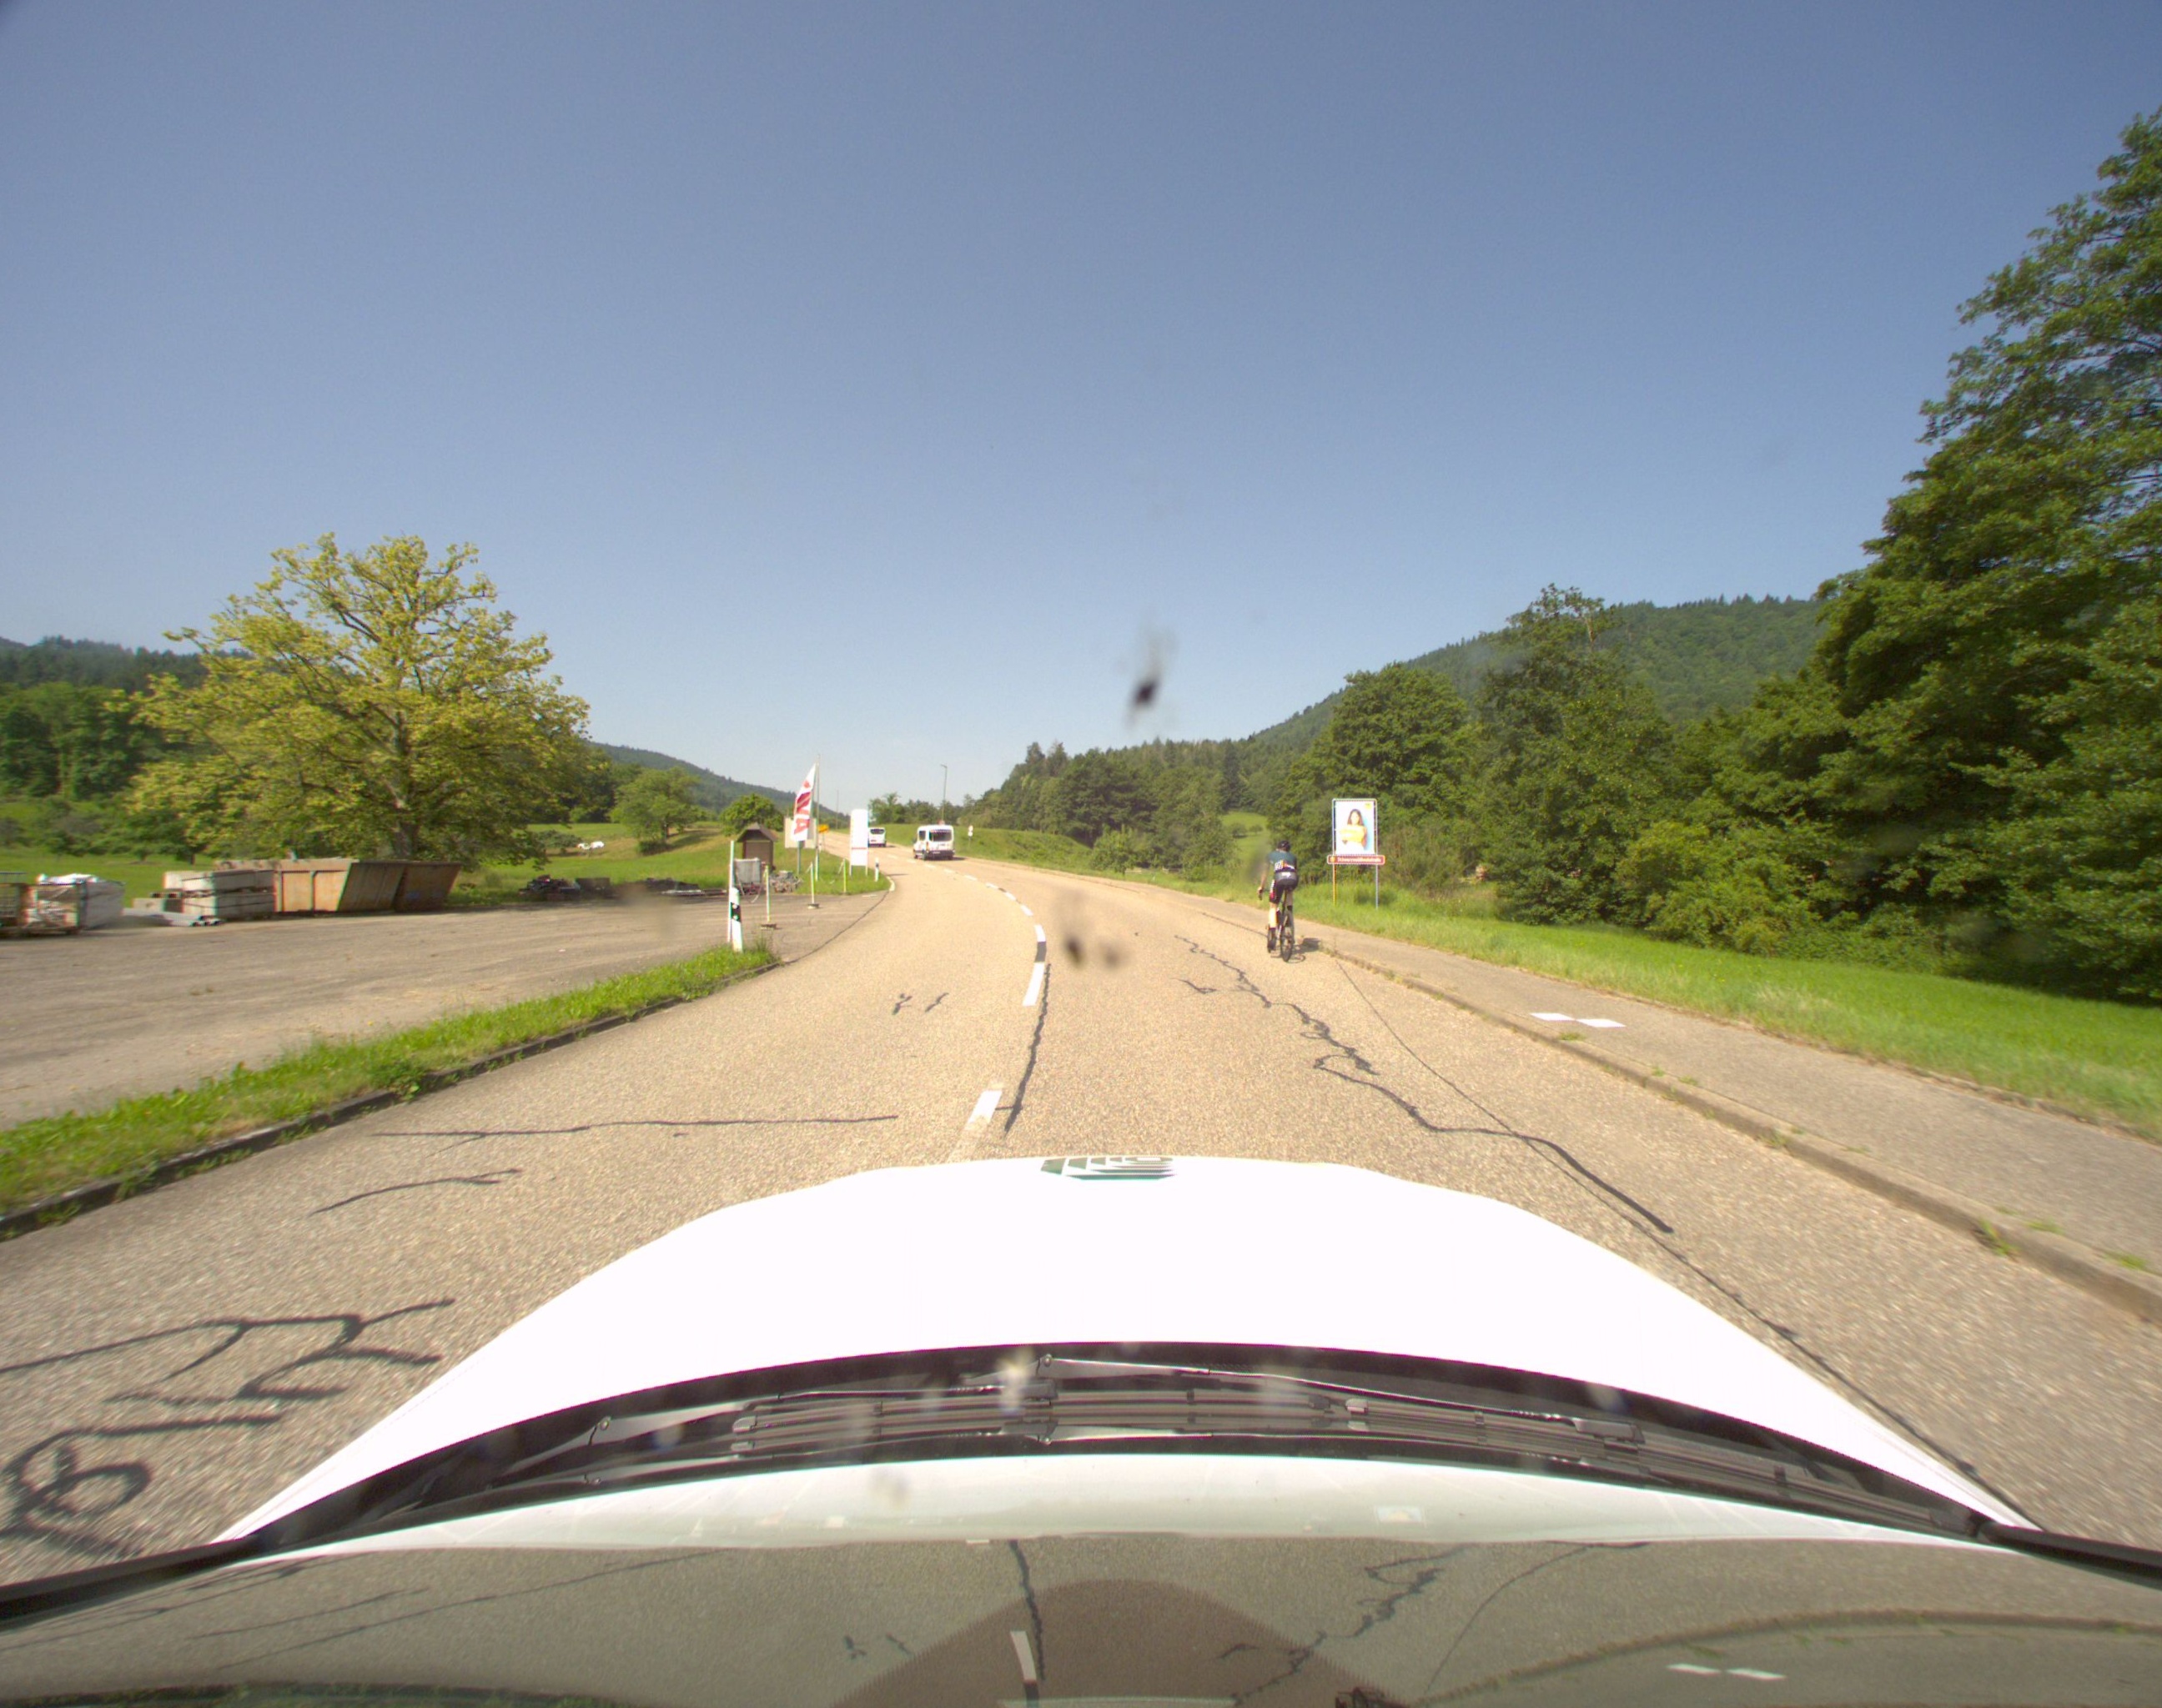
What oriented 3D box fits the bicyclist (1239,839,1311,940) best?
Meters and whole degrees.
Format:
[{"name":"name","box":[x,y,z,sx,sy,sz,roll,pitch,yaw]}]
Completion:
[{"name":"bicyclist","box":[2.750,0.479,11.653,0.579,1.342,1.142,-3,0,-7]}]

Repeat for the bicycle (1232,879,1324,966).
[{"name":"bicycle","box":[2.769,0.928,11.656,0.579,1.035,1.986,-3,1,-7]}]

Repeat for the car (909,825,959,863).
[{"name":"car","box":[-10.488,-0.698,57.827,2.234,2.525,4.943,-3,2,-25]}]

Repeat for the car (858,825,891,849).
[{"name":"car","box":[-21.063,-1.707,83.089,2.234,2.286,4.942,-3,2,-26]}]
